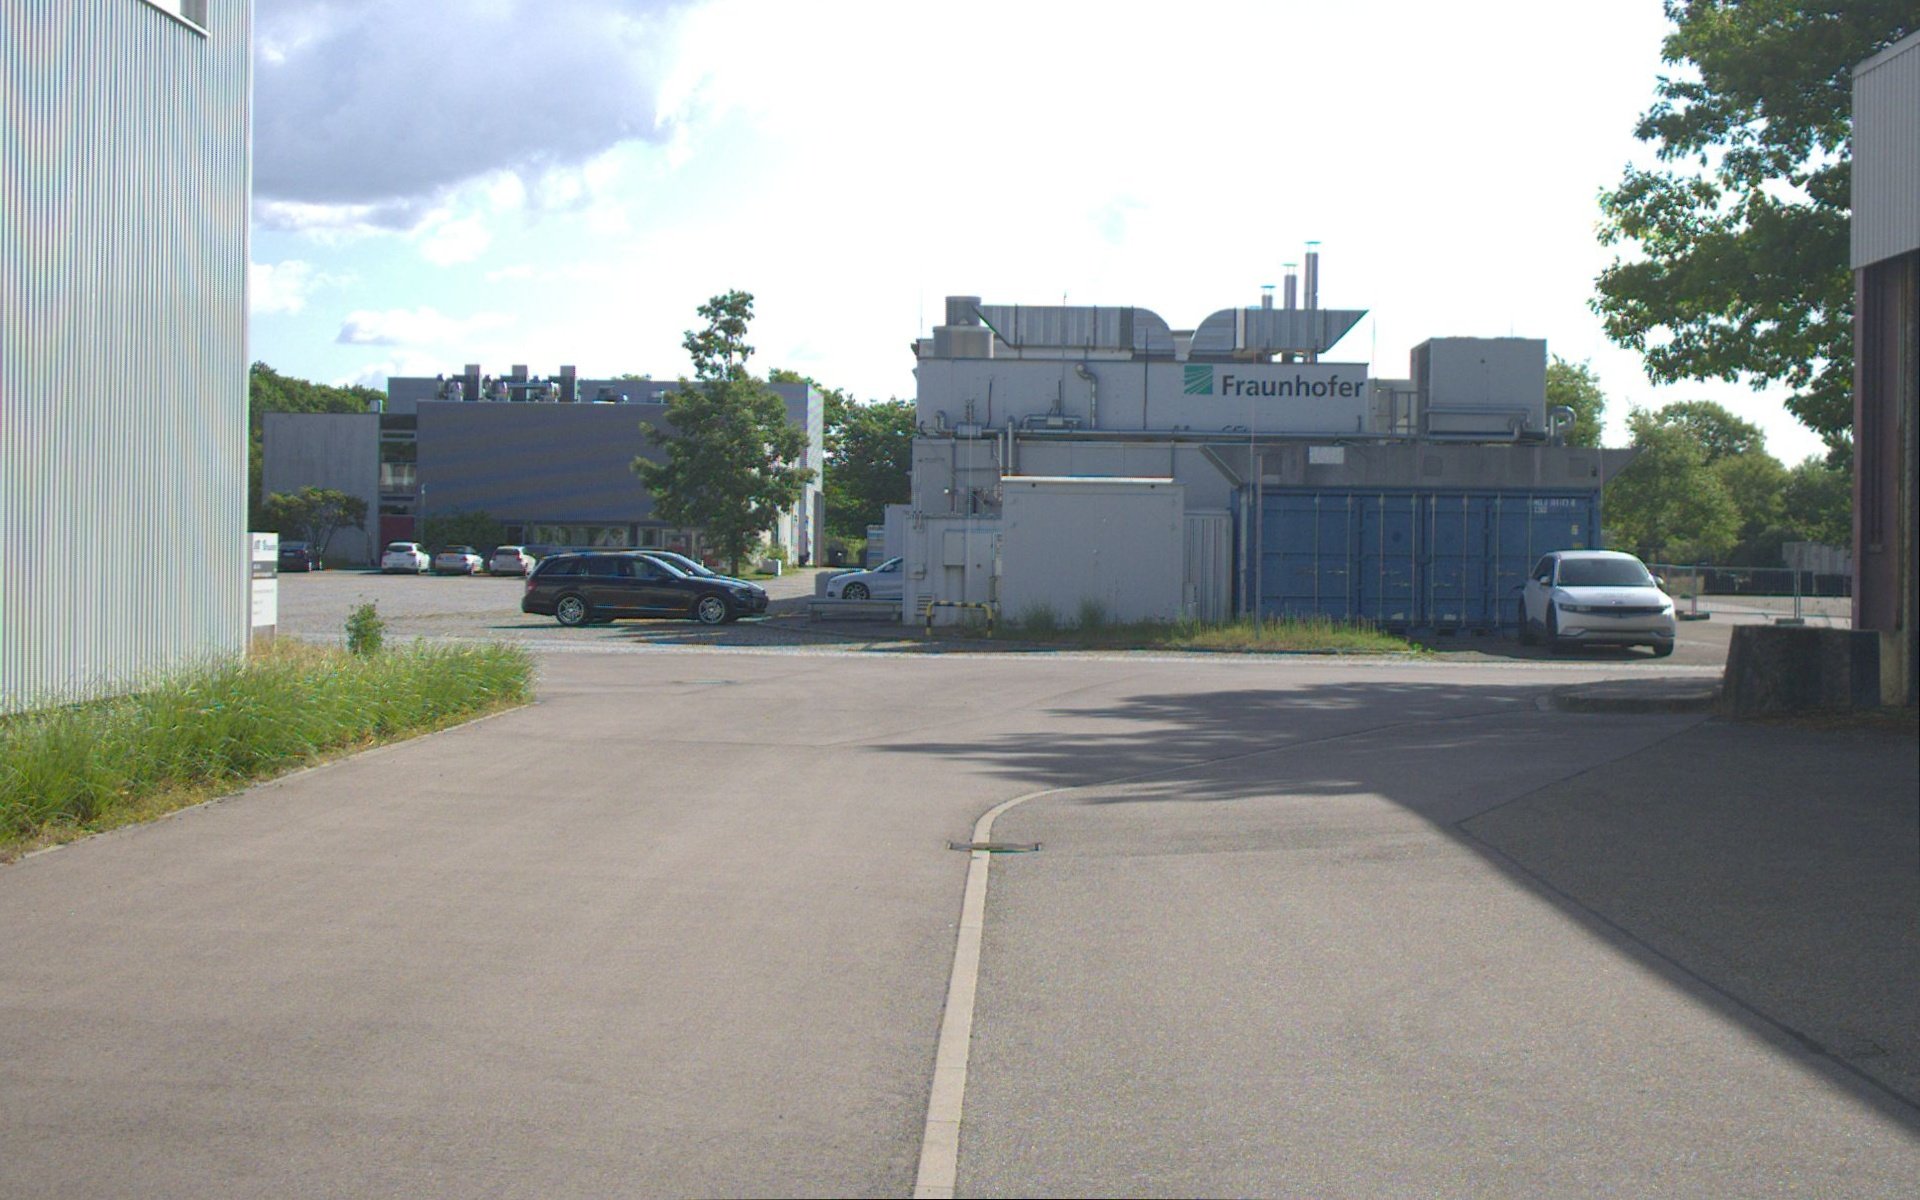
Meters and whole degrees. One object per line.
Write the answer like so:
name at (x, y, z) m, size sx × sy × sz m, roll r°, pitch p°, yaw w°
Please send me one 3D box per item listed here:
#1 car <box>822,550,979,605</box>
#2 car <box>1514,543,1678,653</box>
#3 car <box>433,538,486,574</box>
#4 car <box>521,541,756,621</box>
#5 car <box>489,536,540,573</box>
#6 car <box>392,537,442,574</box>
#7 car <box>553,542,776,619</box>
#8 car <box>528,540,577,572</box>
car at (-1.629, -0.627, 95.748) m, size 4.303 × 1.452 × 1.824 m, roll -1°, pitch 0°, yaw 1°
car at (10.141, -0.066, 55.090) m, size 1.980 × 1.597 × 4.377 m, roll -1°, pitch 2°, yaw 3°
car at (-24.037, -2.122, 165.172) m, size 1.977 × 1.672 × 4.000 m, roll -1°, pitch 0°, yaw -1°
car at (-6.323, -0.376, 67.963) m, size 4.447 × 1.526 × 1.824 m, roll -1°, pitch 0°, yaw 1°
car at (-21.437, -2.181, 165.534) m, size 1.965 × 1.706 × 4.030 m, roll -1°, pitch 0°, yaw -1°
car at (-26.155, -2.139, 165.612) m, size 1.798 × 1.706 × 4.048 m, roll -1°, pitch 0°, yaw -1°
car at (-6.122, -0.404, 71.605) m, size 4.447 × 1.526 × 1.824 m, roll -1°, pitch 0°, yaw 1°
car at (-19.395, -2.091, 163.648) m, size 1.858 × 1.489 × 4.030 m, roll -1°, pitch 0°, yaw -1°
